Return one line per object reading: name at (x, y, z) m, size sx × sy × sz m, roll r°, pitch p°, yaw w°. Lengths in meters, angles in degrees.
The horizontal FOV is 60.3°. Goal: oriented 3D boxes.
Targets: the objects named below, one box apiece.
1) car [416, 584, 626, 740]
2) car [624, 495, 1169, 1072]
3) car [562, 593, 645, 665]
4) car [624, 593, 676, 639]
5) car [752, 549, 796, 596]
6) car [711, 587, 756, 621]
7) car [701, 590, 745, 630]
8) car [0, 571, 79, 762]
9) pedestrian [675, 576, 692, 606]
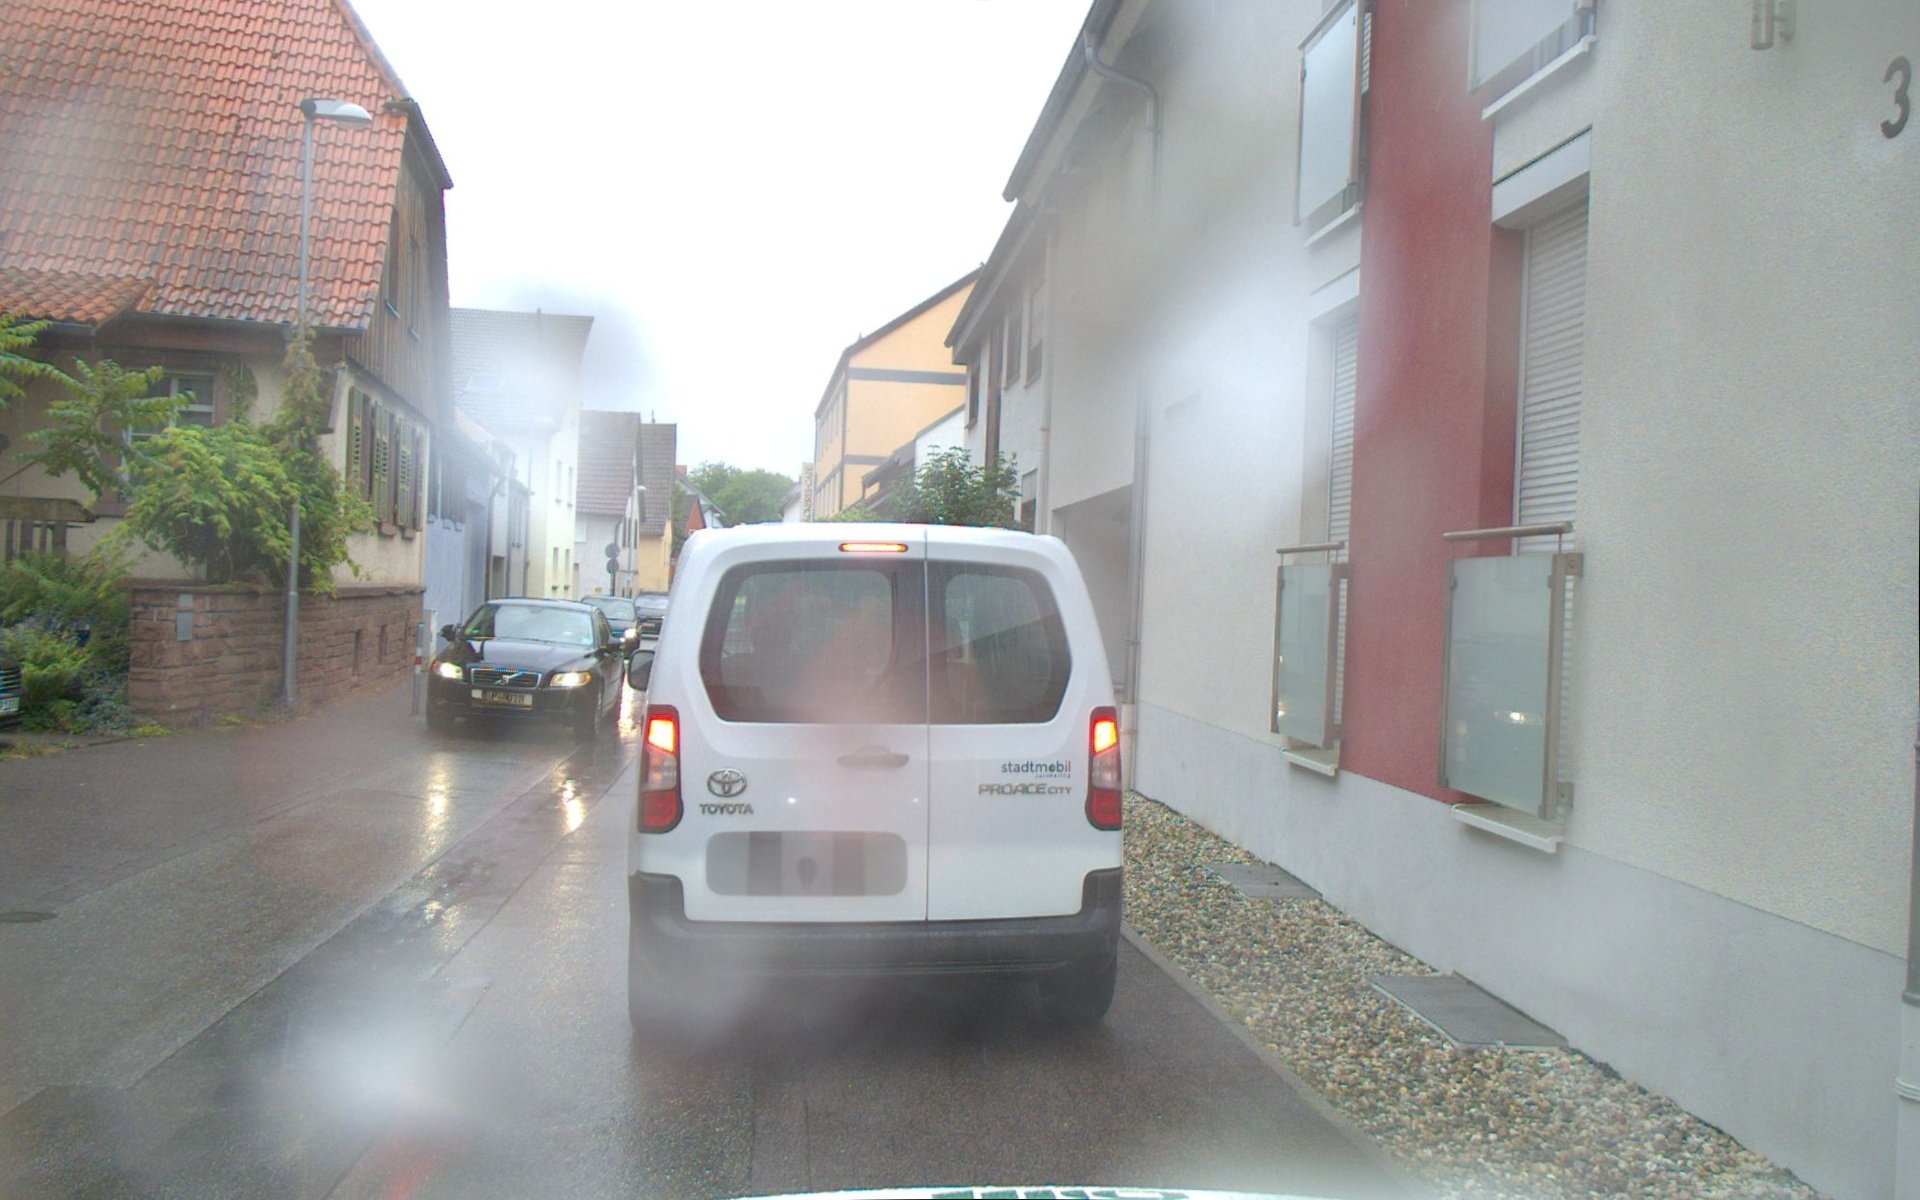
car at (-4.873, 0.637, 18.890) m, size 1.664 × 1.535 × 4.335 m, roll 2°, pitch 0°, yaw -7°
car at (-0.490, 0.594, 7.317) m, size 1.742 × 1.811 × 3.991 m, roll 1°, pitch 0°, yaw -9°
car at (-8.302, 0.655, 38.749) m, size 1.574 × 1.539 × 3.681 m, roll 2°, pitch 0°, yaw -8°
car at (-11.669, 0.577, 62.362) m, size 1.799 × 1.583 × 4.229 m, roll 2°, pitch 0°, yaw -10°
car at (-8.551, -1.246, 76.261) m, size 1.955 × 2.049 × 3.995 m, roll 1°, pitch 0°, yaw -6°
car at (-9.832, 0.163, 71.628) m, size 1.747 × 1.419 × 3.990 m, roll 1°, pitch 0°, yaw -10°
car at (-9.201, 0.383, 64.062) m, size 1.532 × 1.503 × 3.990 m, roll 1°, pitch 0°, yaw -10°
car at (-9.396, 0.313, 12.947) m, size 3.908 × 1.450 × 1.735 m, roll 7°, pitch -1°, yaw -1°
pedestrian at (-18.350, -0.593, 109.798) m, size 1.031 × 1.926 × 0.875 m, roll 1°, pitch -1°, yaw -9°
